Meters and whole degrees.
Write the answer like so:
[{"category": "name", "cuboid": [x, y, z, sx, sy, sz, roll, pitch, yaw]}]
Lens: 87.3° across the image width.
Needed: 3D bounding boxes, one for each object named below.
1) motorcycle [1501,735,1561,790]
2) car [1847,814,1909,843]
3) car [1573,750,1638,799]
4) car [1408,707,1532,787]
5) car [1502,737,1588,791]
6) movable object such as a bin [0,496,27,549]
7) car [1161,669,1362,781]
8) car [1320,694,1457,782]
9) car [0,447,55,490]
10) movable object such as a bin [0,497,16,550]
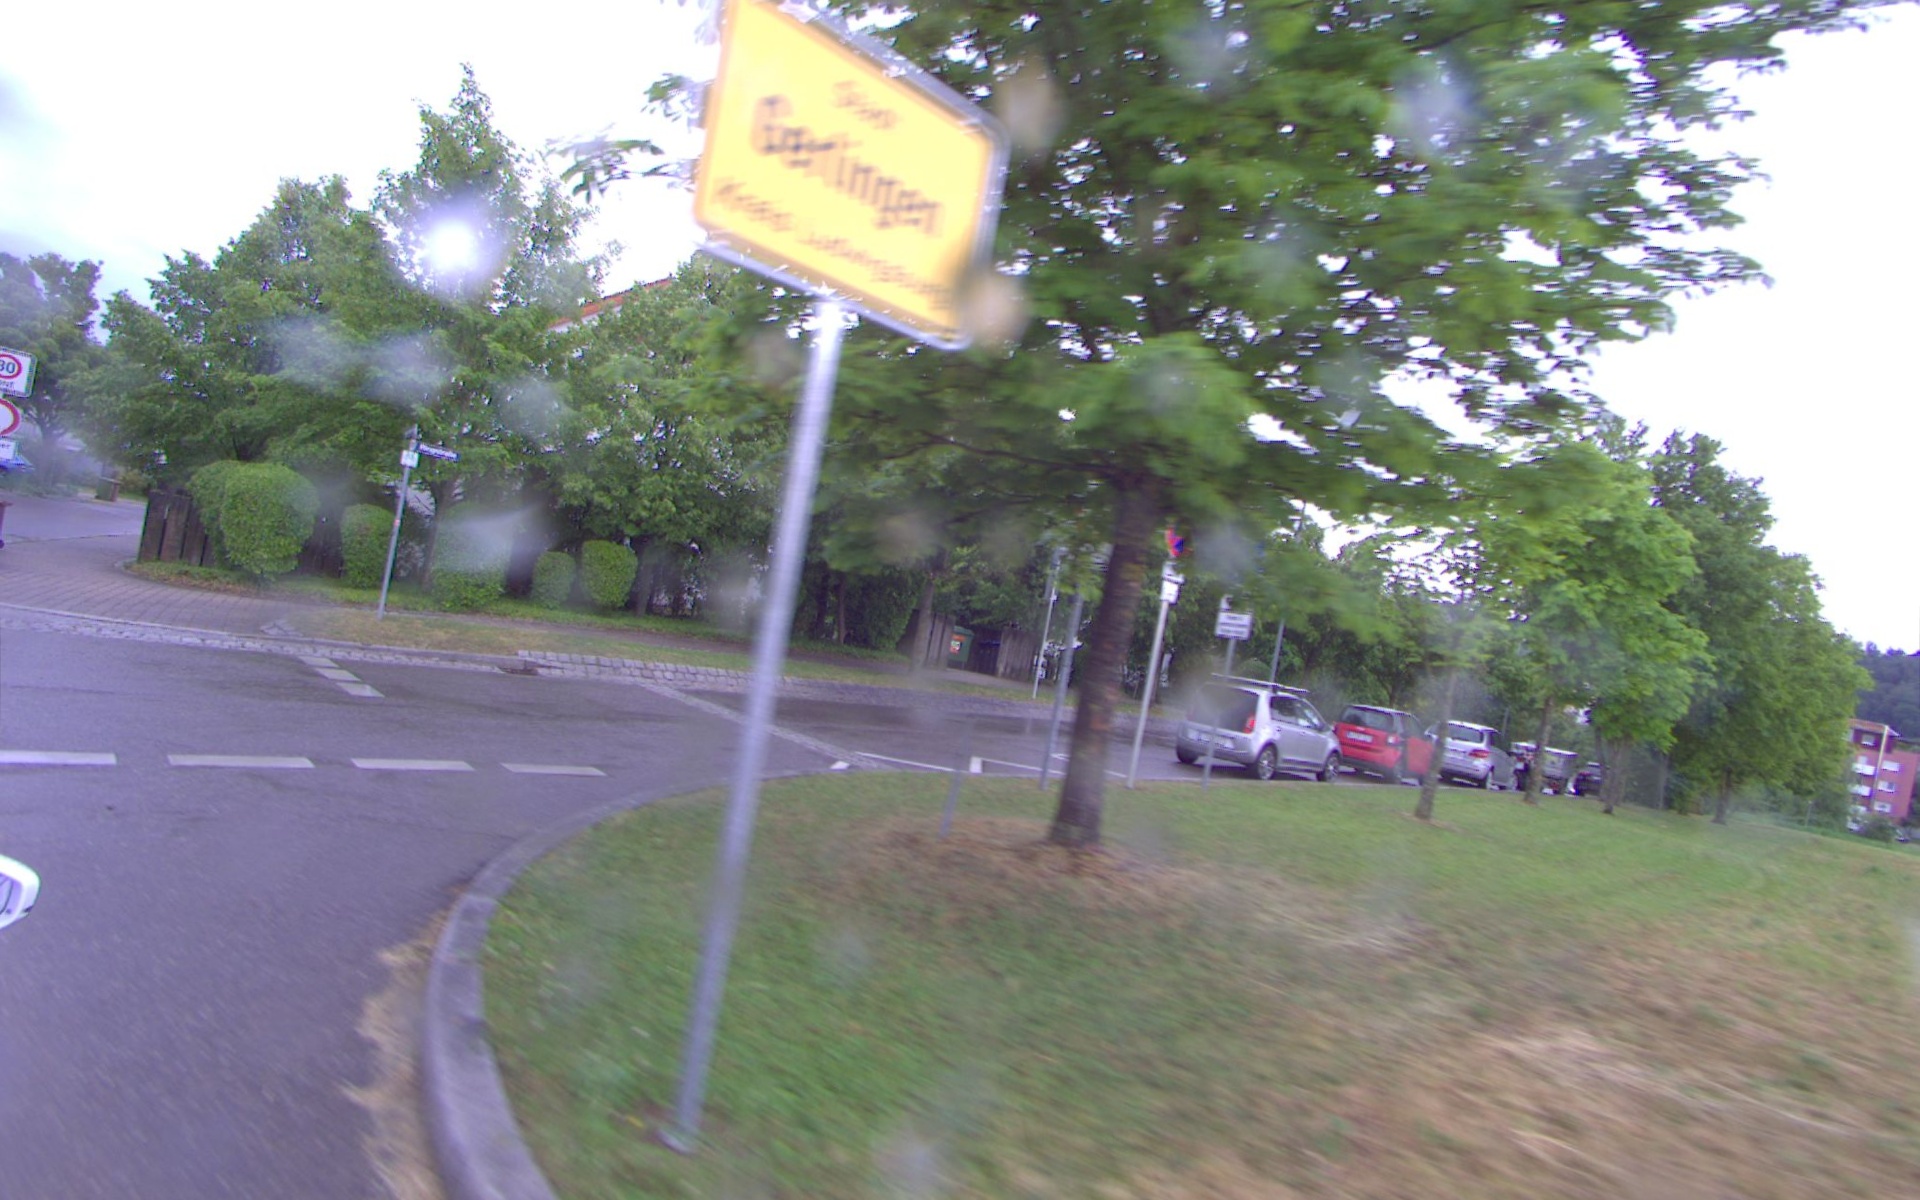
[{"category": "motorcycle", "cuboid": [16.725, 4.767, 29.421, 0.957, 1.316, 2.258, 11, -1, 41]}, {"category": "car", "cuboid": [112.254, 27.926, 123.066, 5.200, 2.037, 1.994, 9, -1, 38]}, {"category": "car", "cuboid": [29.453, 7.988, 45.865, 1.933, 1.623, 3.994, 10, -4, 39]}, {"category": "car", "cuboid": [13.384, 3.887, 26.310, 1.825, 1.569, 3.978, 10, -2, 41]}, {"category": "car", "cuboid": [18.815, 5.259, 32.314, 1.709, 1.295, 3.318, 10, -1, 40]}, {"category": "movable object such as a bin", "cuboid": [-18.071, -1.477, 18.890, 0.566, 0.941, 0.526, 10, -1, -27]}, {"category": "car", "cuboid": [5.318, 2.215, 17.548, 3.535, 1.496, 1.659, 10, -1, -43]}, {"category": "car", "cuboid": [9.317, 3.005, 21.779, 2.997, 1.452, 1.534, 12, -2, -44]}, {"category": "car", "cuboid": [-44.249, -6.267, 45.925, 3.971, 1.585, 1.889, 12, -2, -36]}, {"category": "movable object such as a bin", "cuboid": [-17.813, -1.443, 18.399, 0.566, 0.941, 0.526, 10, -1, -27]}]
